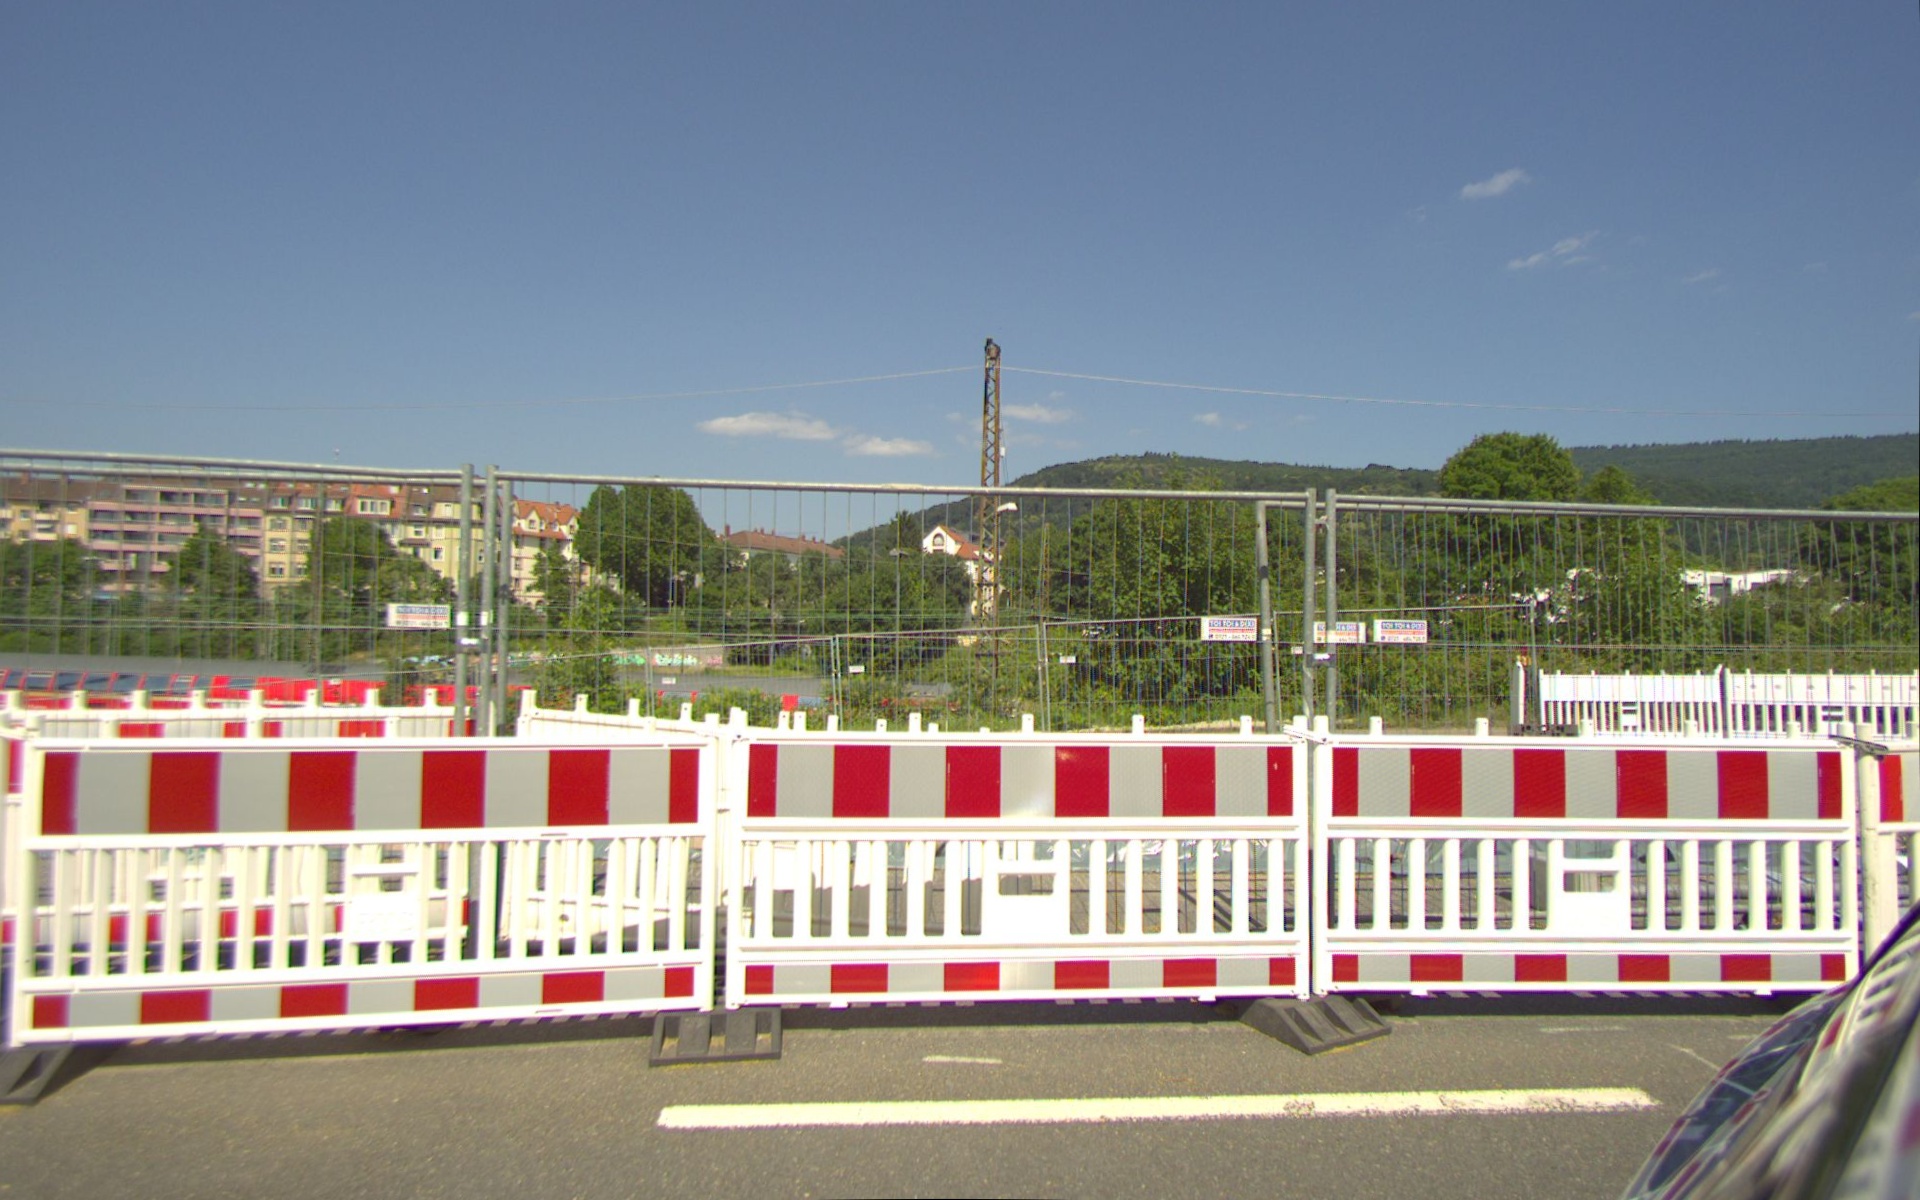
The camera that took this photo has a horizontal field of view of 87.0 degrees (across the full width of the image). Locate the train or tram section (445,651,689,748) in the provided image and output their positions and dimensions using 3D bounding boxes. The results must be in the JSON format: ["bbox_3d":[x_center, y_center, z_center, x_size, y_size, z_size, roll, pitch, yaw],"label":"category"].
[{"bbox_3d":[-15.927,4.014,41.373,8.815,3.761,3.018,0,-4,6],"label":"train or tram section"}]

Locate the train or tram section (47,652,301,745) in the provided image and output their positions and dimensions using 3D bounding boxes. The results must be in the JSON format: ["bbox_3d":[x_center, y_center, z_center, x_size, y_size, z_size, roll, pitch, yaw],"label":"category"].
[{"bbox_3d":[-33.373,4.135,43.174,8.815,3.753,3.018,0,-4,6],"label":"train or tram section"}]

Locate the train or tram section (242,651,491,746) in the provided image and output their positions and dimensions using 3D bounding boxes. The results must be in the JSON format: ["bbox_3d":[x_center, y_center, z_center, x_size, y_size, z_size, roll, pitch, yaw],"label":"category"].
[{"bbox_3d":[-24.633,4.057,42.268,8.815,3.753,3.018,0,-4,6],"label":"train or tram section"}]

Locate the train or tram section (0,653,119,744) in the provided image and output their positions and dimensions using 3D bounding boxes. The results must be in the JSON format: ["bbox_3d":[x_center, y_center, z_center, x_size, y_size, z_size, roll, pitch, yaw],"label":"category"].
[{"bbox_3d":[-42.136,4.229,44.013,8.812,3.753,3.018,0,-4,5],"label":"train or tram section"}]

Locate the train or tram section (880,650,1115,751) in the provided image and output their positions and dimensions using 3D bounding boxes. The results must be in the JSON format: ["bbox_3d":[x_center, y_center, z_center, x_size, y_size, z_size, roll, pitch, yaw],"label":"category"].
[{"bbox_3d":[1.480,3.854,39.611,8.814,3.751,3.018,0,-4,6],"label":"train or tram section"}]

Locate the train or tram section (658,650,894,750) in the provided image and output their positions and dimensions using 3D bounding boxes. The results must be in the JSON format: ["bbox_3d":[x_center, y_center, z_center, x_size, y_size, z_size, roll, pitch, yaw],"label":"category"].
[{"bbox_3d":[-7.210,3.928,40.482,8.815,3.764,3.018,0,-4,6],"label":"train or tram section"}]
